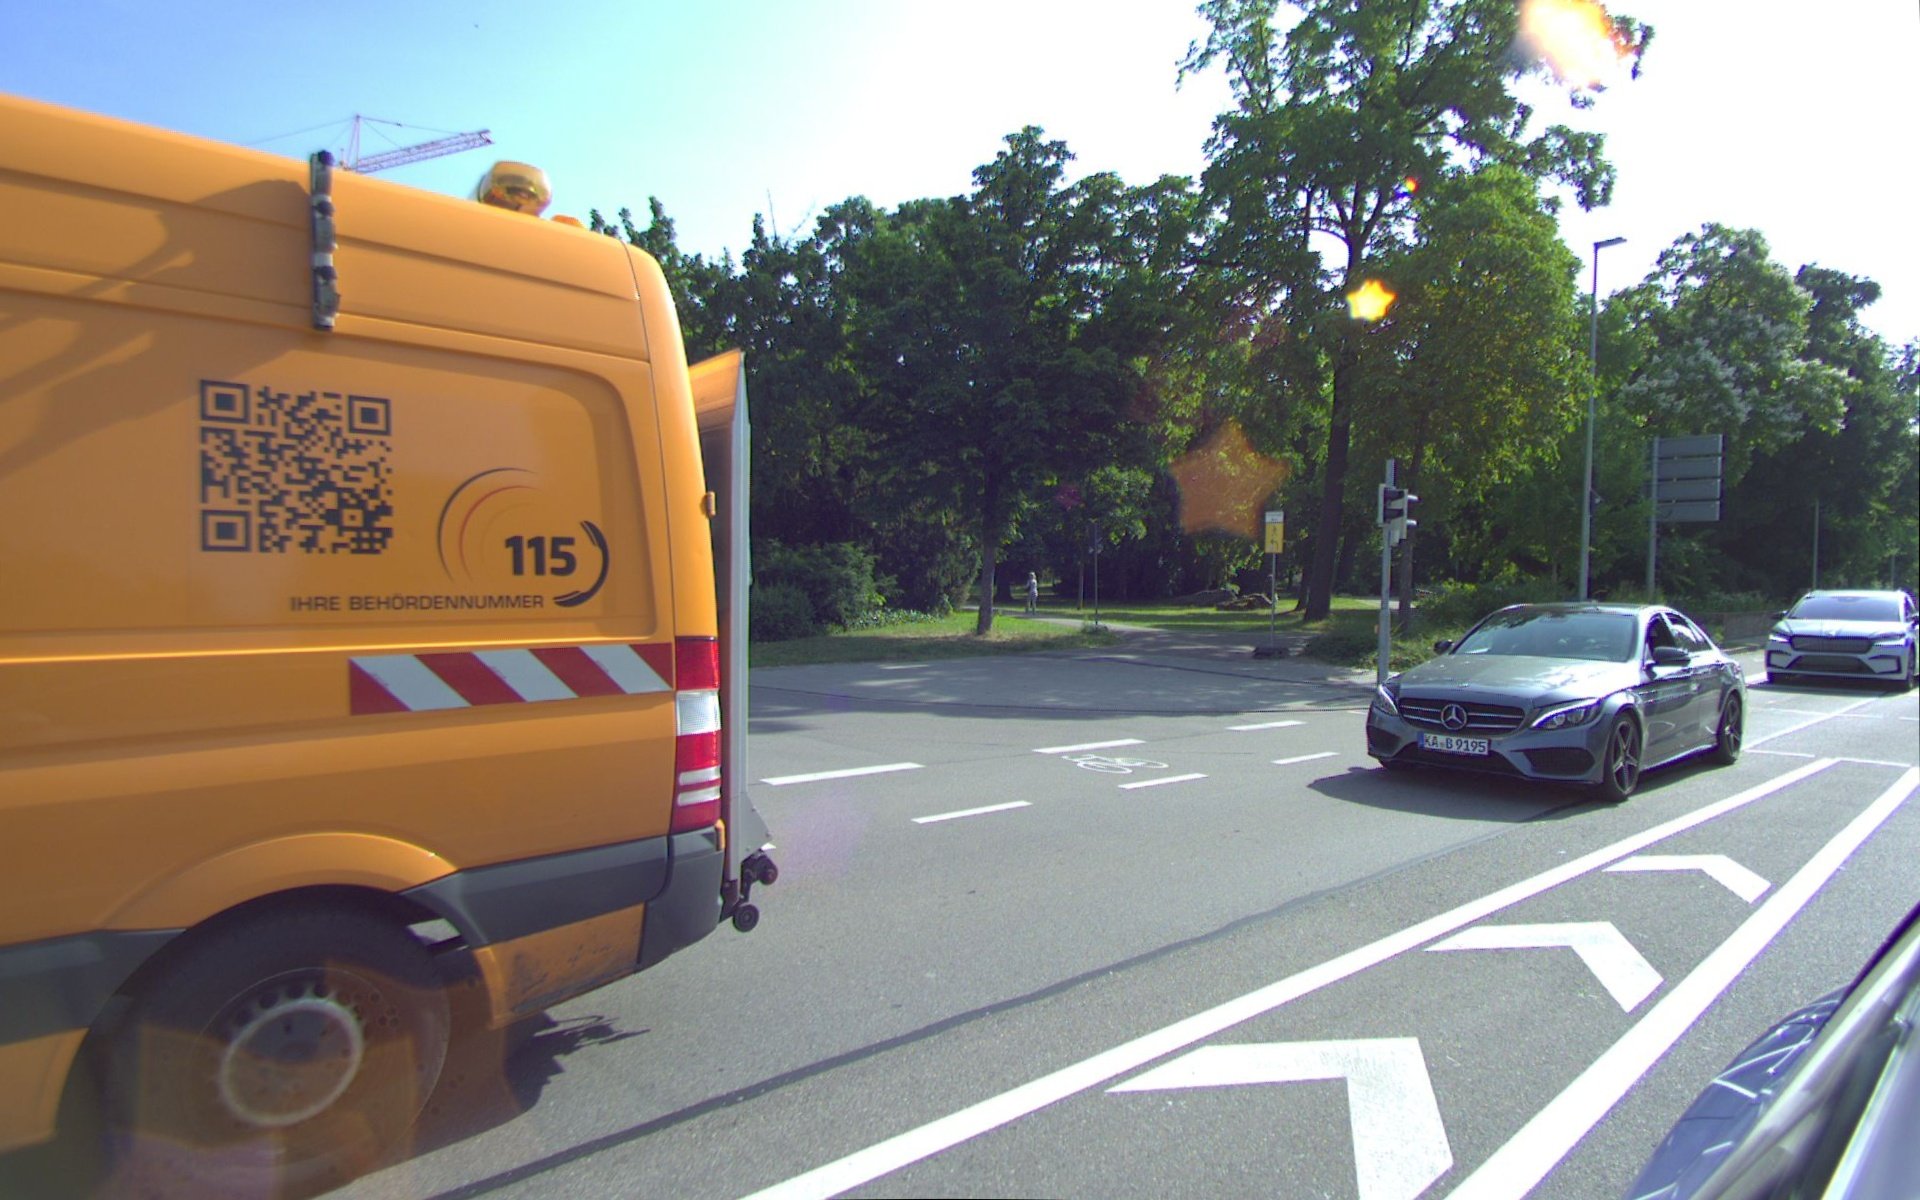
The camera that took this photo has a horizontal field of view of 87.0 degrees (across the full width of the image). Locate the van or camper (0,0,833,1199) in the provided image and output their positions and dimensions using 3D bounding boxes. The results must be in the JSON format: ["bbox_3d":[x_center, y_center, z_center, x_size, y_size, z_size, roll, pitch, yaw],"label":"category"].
[{"bbox_3d":[-3.356,-0.033,2.132,5.950,2.503,1.991,0,1,-38],"label":"van or camper"}]

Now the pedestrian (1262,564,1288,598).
[{"bbox_3d":[17.733,-1.066,56.958,1.048,1.853,0.987,1,1,-11],"label":"pedestrian"}]

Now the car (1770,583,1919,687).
[{"bbox_3d":[15.667,0.496,17.494,4.176,1.590,1.896,-1,1,-41],"label":"car"}]

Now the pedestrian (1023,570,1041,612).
[{"bbox_3d":[2.675,-0.344,37.684,0.523,1.536,0.671,1,1,-9],"label":"pedestrian"}]
